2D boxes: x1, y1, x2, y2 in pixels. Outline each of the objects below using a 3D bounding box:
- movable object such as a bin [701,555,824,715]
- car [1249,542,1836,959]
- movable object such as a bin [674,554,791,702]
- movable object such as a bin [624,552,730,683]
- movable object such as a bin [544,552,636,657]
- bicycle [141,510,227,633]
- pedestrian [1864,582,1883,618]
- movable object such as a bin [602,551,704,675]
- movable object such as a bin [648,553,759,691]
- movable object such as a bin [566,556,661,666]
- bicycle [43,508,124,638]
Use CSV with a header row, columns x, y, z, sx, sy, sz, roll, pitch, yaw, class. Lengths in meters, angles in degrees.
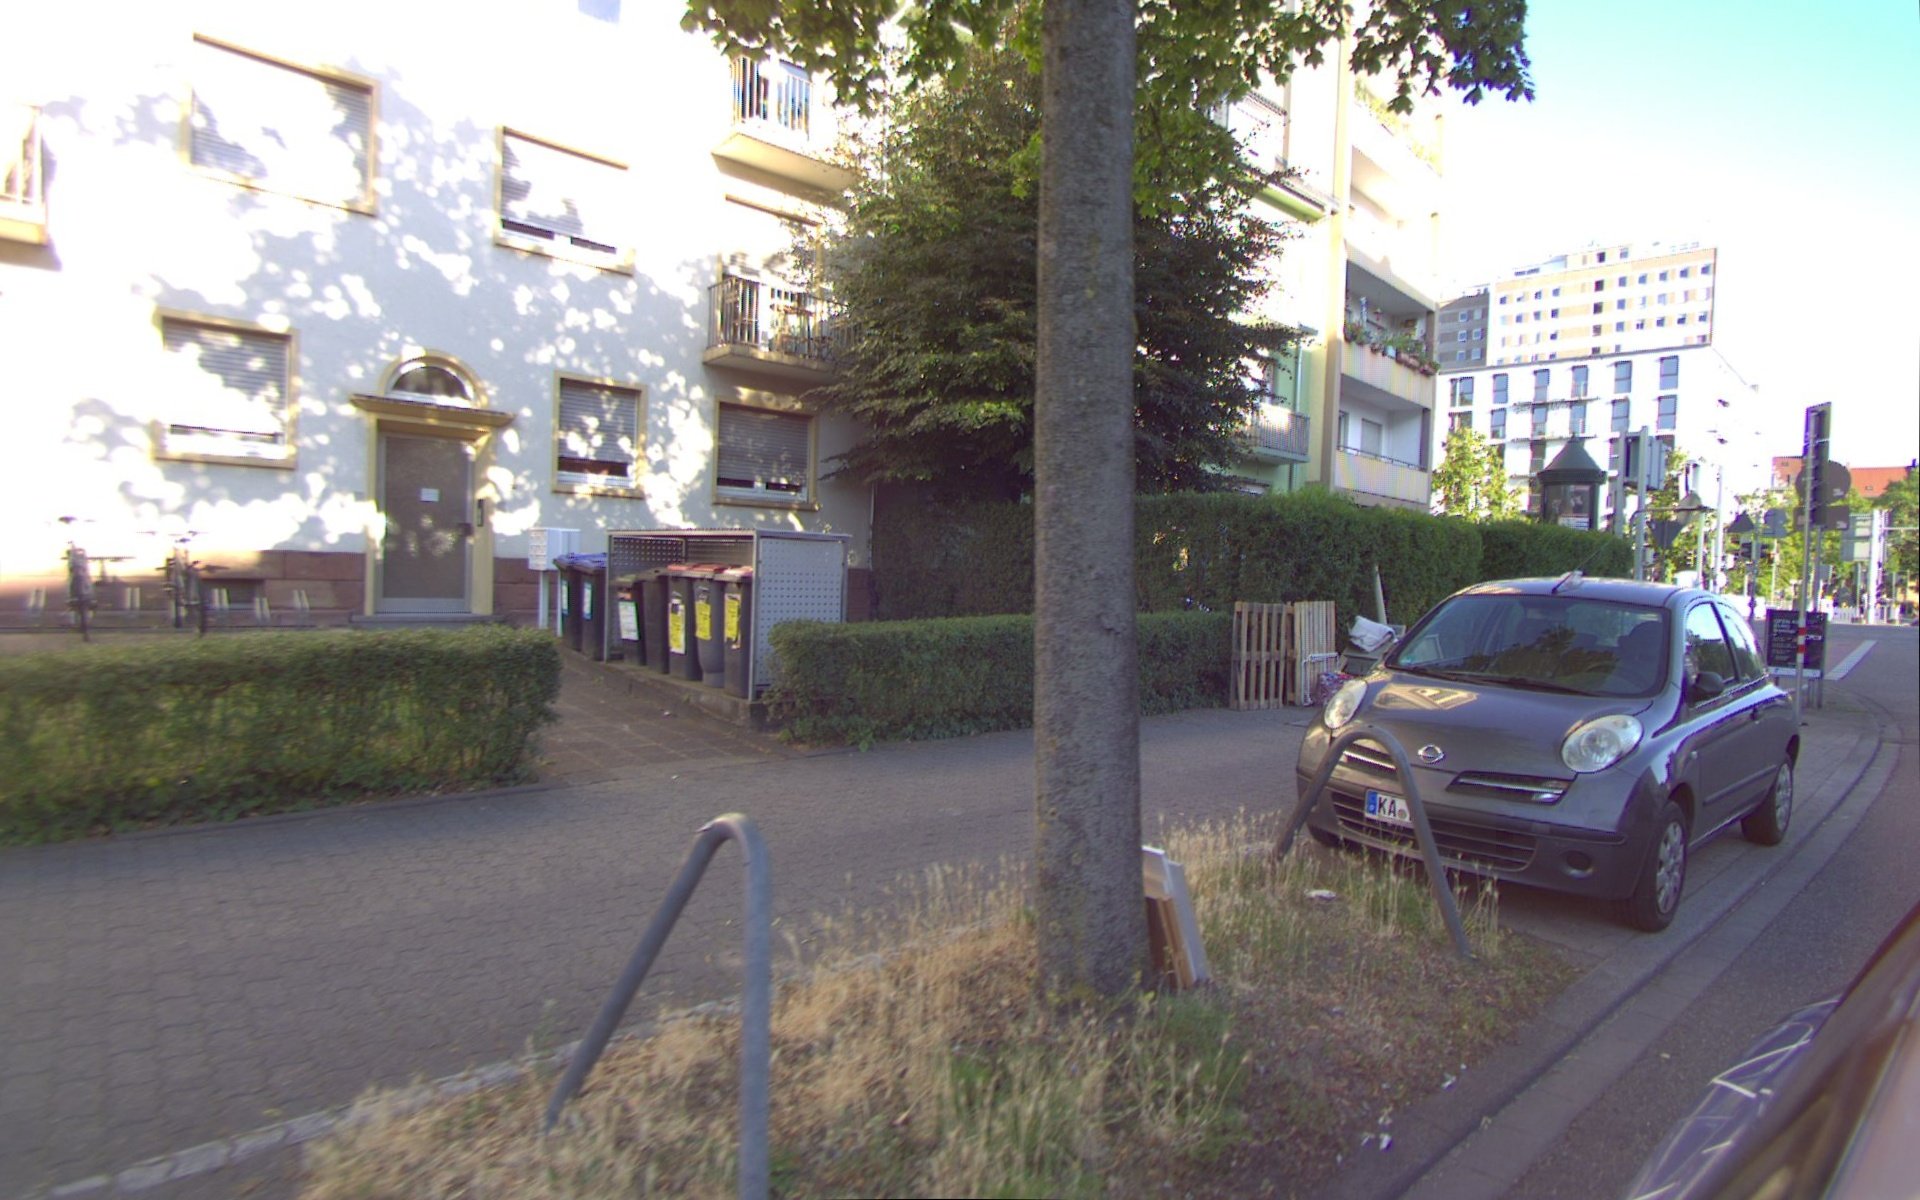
x,y,z,sx,sy,sz,roll,pitch,yaw,class
-1.649,0.270,8.454,0.814,1.255,0.554,1,2,-41,movable object such as a bin
3.410,0.546,5.671,3.582,1.570,1.736,1,2,-41,car
-2.010,0.229,8.952,0.814,1.236,0.554,1,2,-41,movable object such as a bin
-2.759,0.155,9.890,0.814,1.209,0.554,1,2,-41,movable object such as a bin
-4.183,0.039,11.452,0.814,1.137,0.554,1,2,-41,movable object such as a bin
-7.366,-0.283,9.580,1.648,1.069,0.419,3,2,45,bicycle
49.723,-0.007,55.070,0.493,1.900,0.598,3,1,20,pedestrian
-3.148,0.124,10.381,0.814,1.209,0.554,1,2,-41,movable object such as a bin
-2.389,0.189,9.423,0.814,1.217,0.554,1,2,-41,movable object such as a bin
-3.781,0.110,11.048,0.814,1.137,0.554,1,2,-41,movable object such as a bin
-7.817,-0.255,9.008,1.522,1.069,0.419,3,2,45,bicycle
